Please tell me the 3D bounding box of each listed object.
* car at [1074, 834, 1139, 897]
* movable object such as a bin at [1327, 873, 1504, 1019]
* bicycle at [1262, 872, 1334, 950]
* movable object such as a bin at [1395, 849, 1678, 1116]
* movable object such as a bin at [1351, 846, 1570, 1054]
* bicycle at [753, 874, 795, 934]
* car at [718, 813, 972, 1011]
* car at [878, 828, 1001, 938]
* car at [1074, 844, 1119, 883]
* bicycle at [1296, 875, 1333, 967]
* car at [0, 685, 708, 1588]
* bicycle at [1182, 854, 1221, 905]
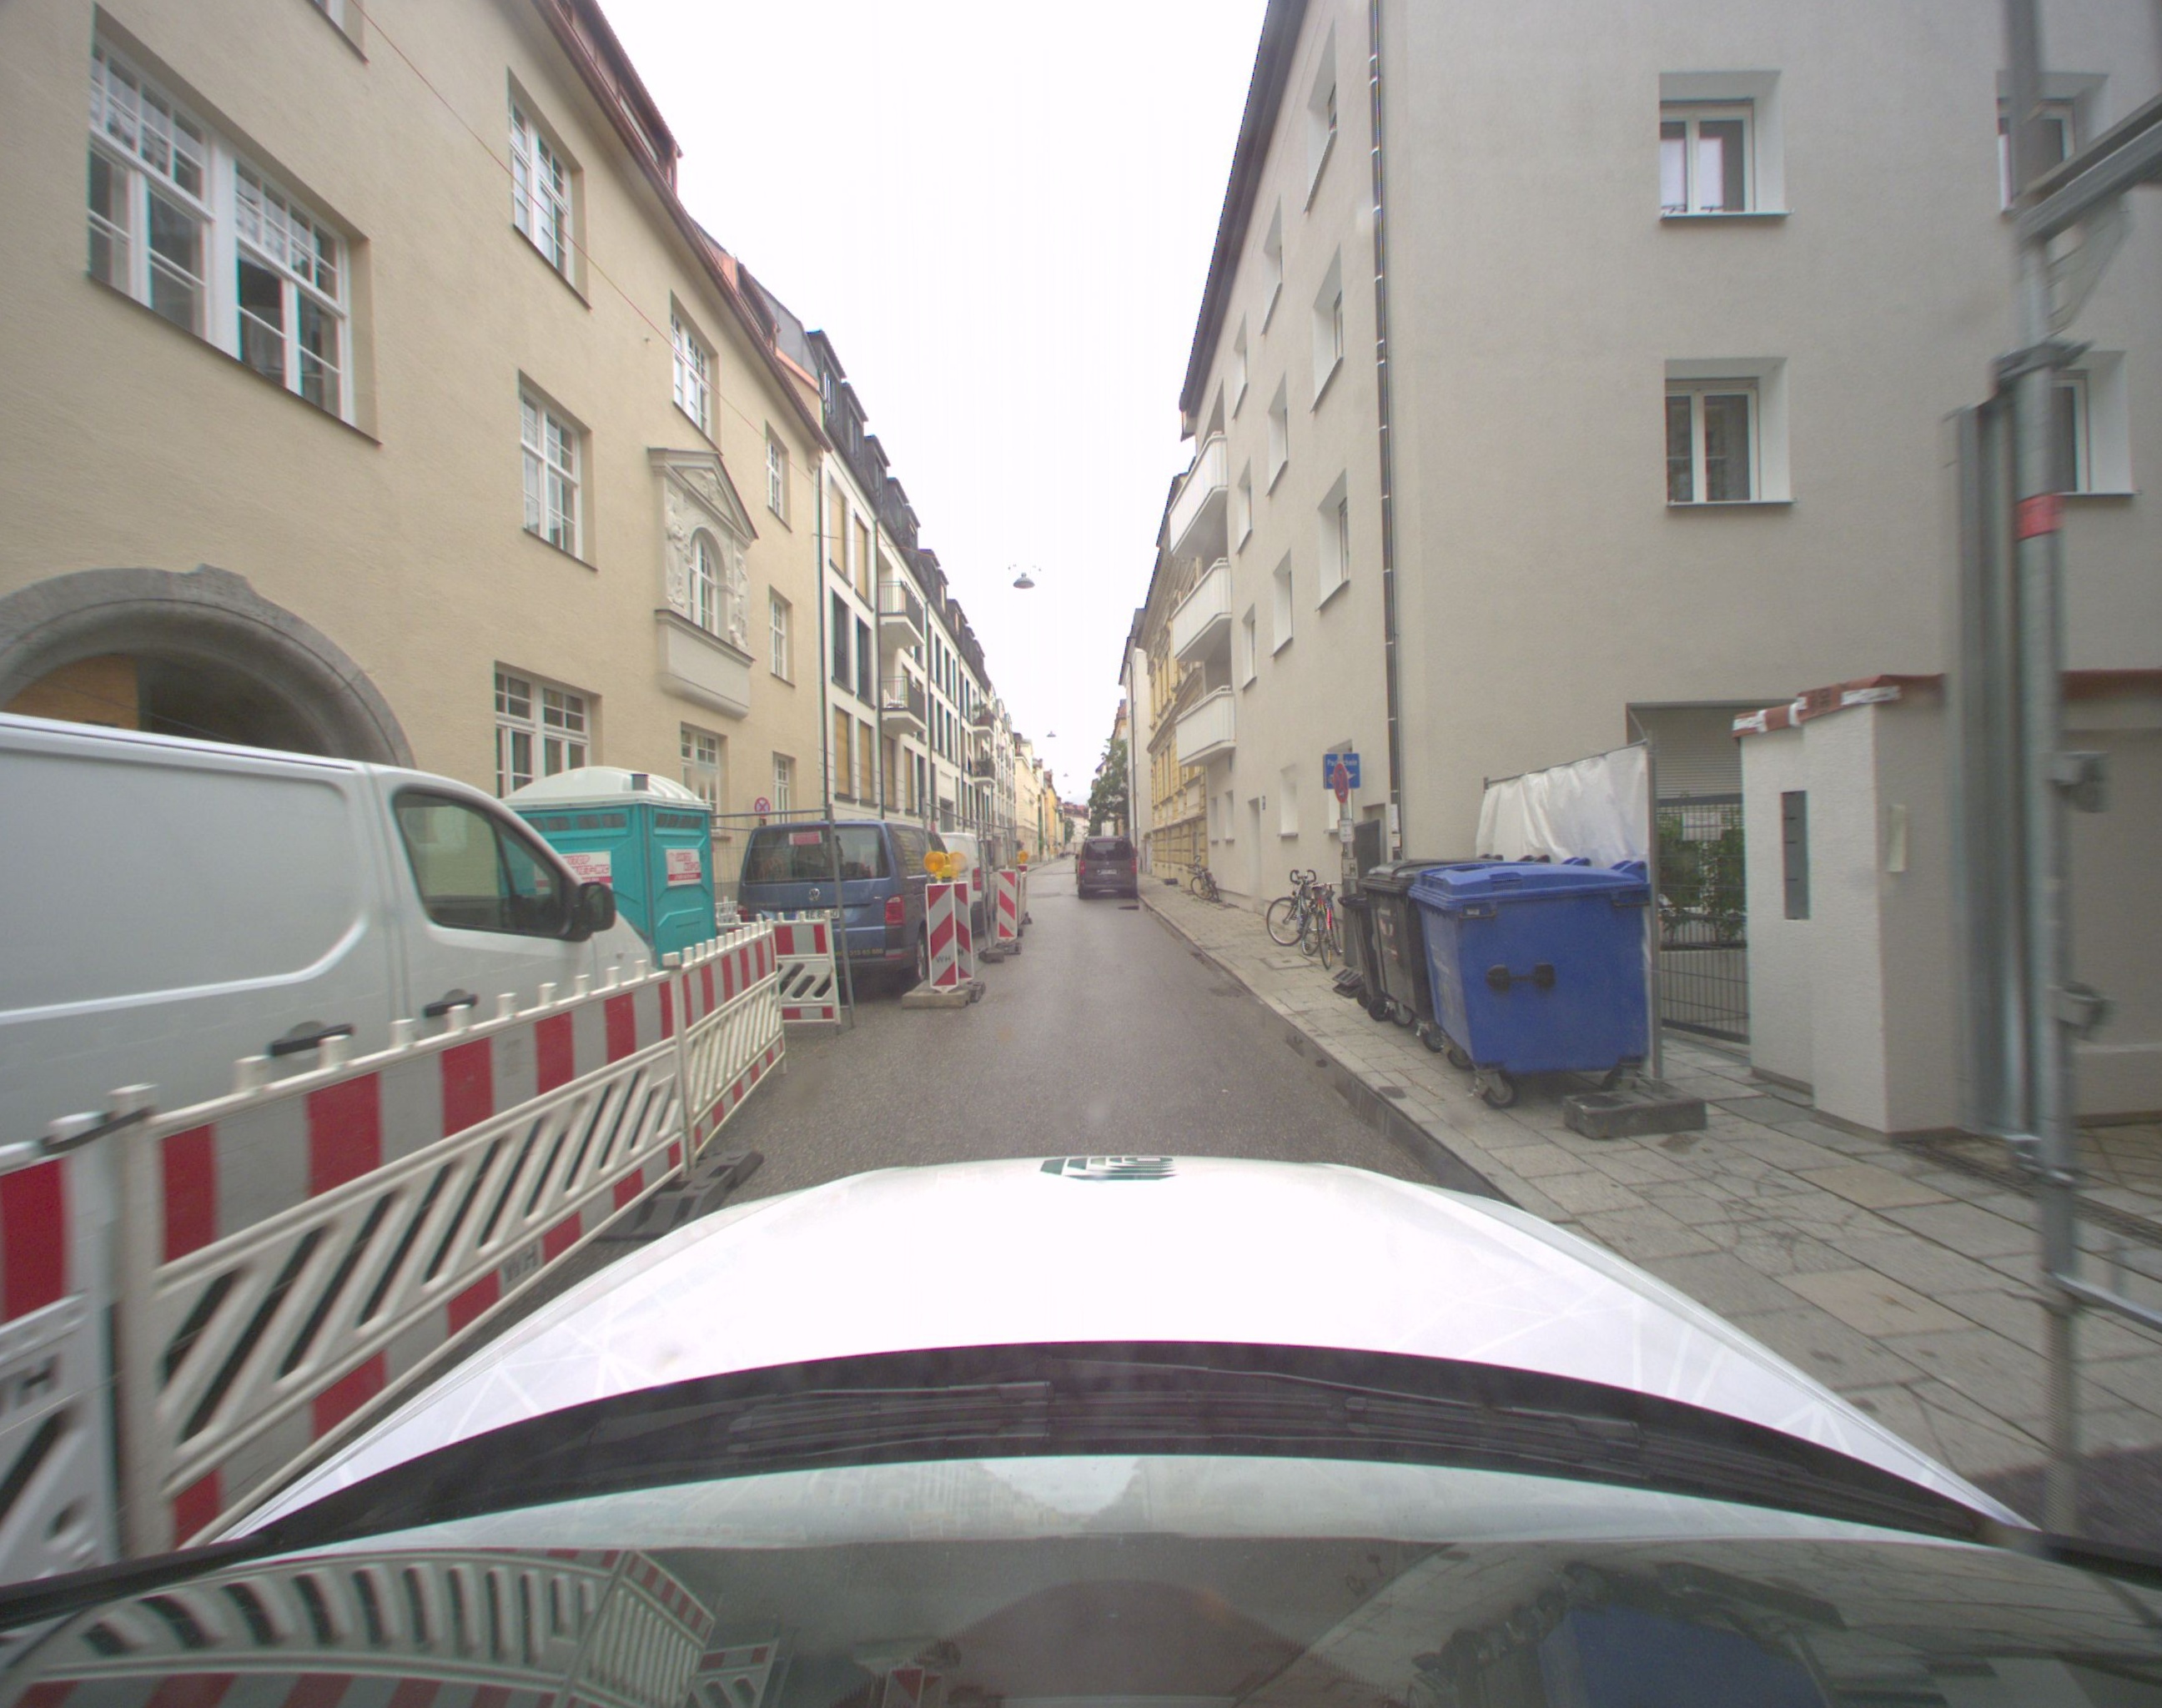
[{"bbox_3d":[0.758,0.352,27.347,1.988,1.932,4.658,0,0,-1],"label":"car"},{"bbox_3d":[2.904,0.784,7.189,1.204,1.095,0.791,-5,0,7],"label":"movable object such as a bin"},{"bbox_3d":[3.024,0.770,11.469,0.404,0.991,1.325,-5,0,-9],"label":"bicycle"},{"bbox_3d":[2.638,0.691,4.951,1.079,1.346,1.322,-5,0,12],"label":"movable object such as a bin"},{"bbox_3d":[2.797,0.667,6.191,1.120,1.345,1.174,-5,0,8],"label":"movable object such as a bin"},{"bbox_3d":[-5.836,0.929,15.536,0.303,1.051,1.390,0,0,-1],"label":"bicycle"},{"bbox_3d":[-2.755,0.579,10.983,1.722,1.897,5.507,-3,0,0],"label":"car"},{"bbox_3d":[-2.755,0.516,17.011,1.900,1.897,5.083,-2,0,-3],"label":"car"},{"bbox_3d":[0.635,0.399,37.352,1.888,1.641,4.320,-2,0,-1],"label":"car"},{"bbox_3d":[2.889,0.795,10.127,0.279,0.991,1.439,-5,0,13],"label":"bicycle"},{"bbox_3d":[-3.276,0.636,2.634,1.912,1.897,4.788,-3,0,-1],"label":"car"},{"bbox_3d":[3.014,0.603,20.468,0.636,1.153,1.915,-4,1,1],"label":"bicycle"}]
